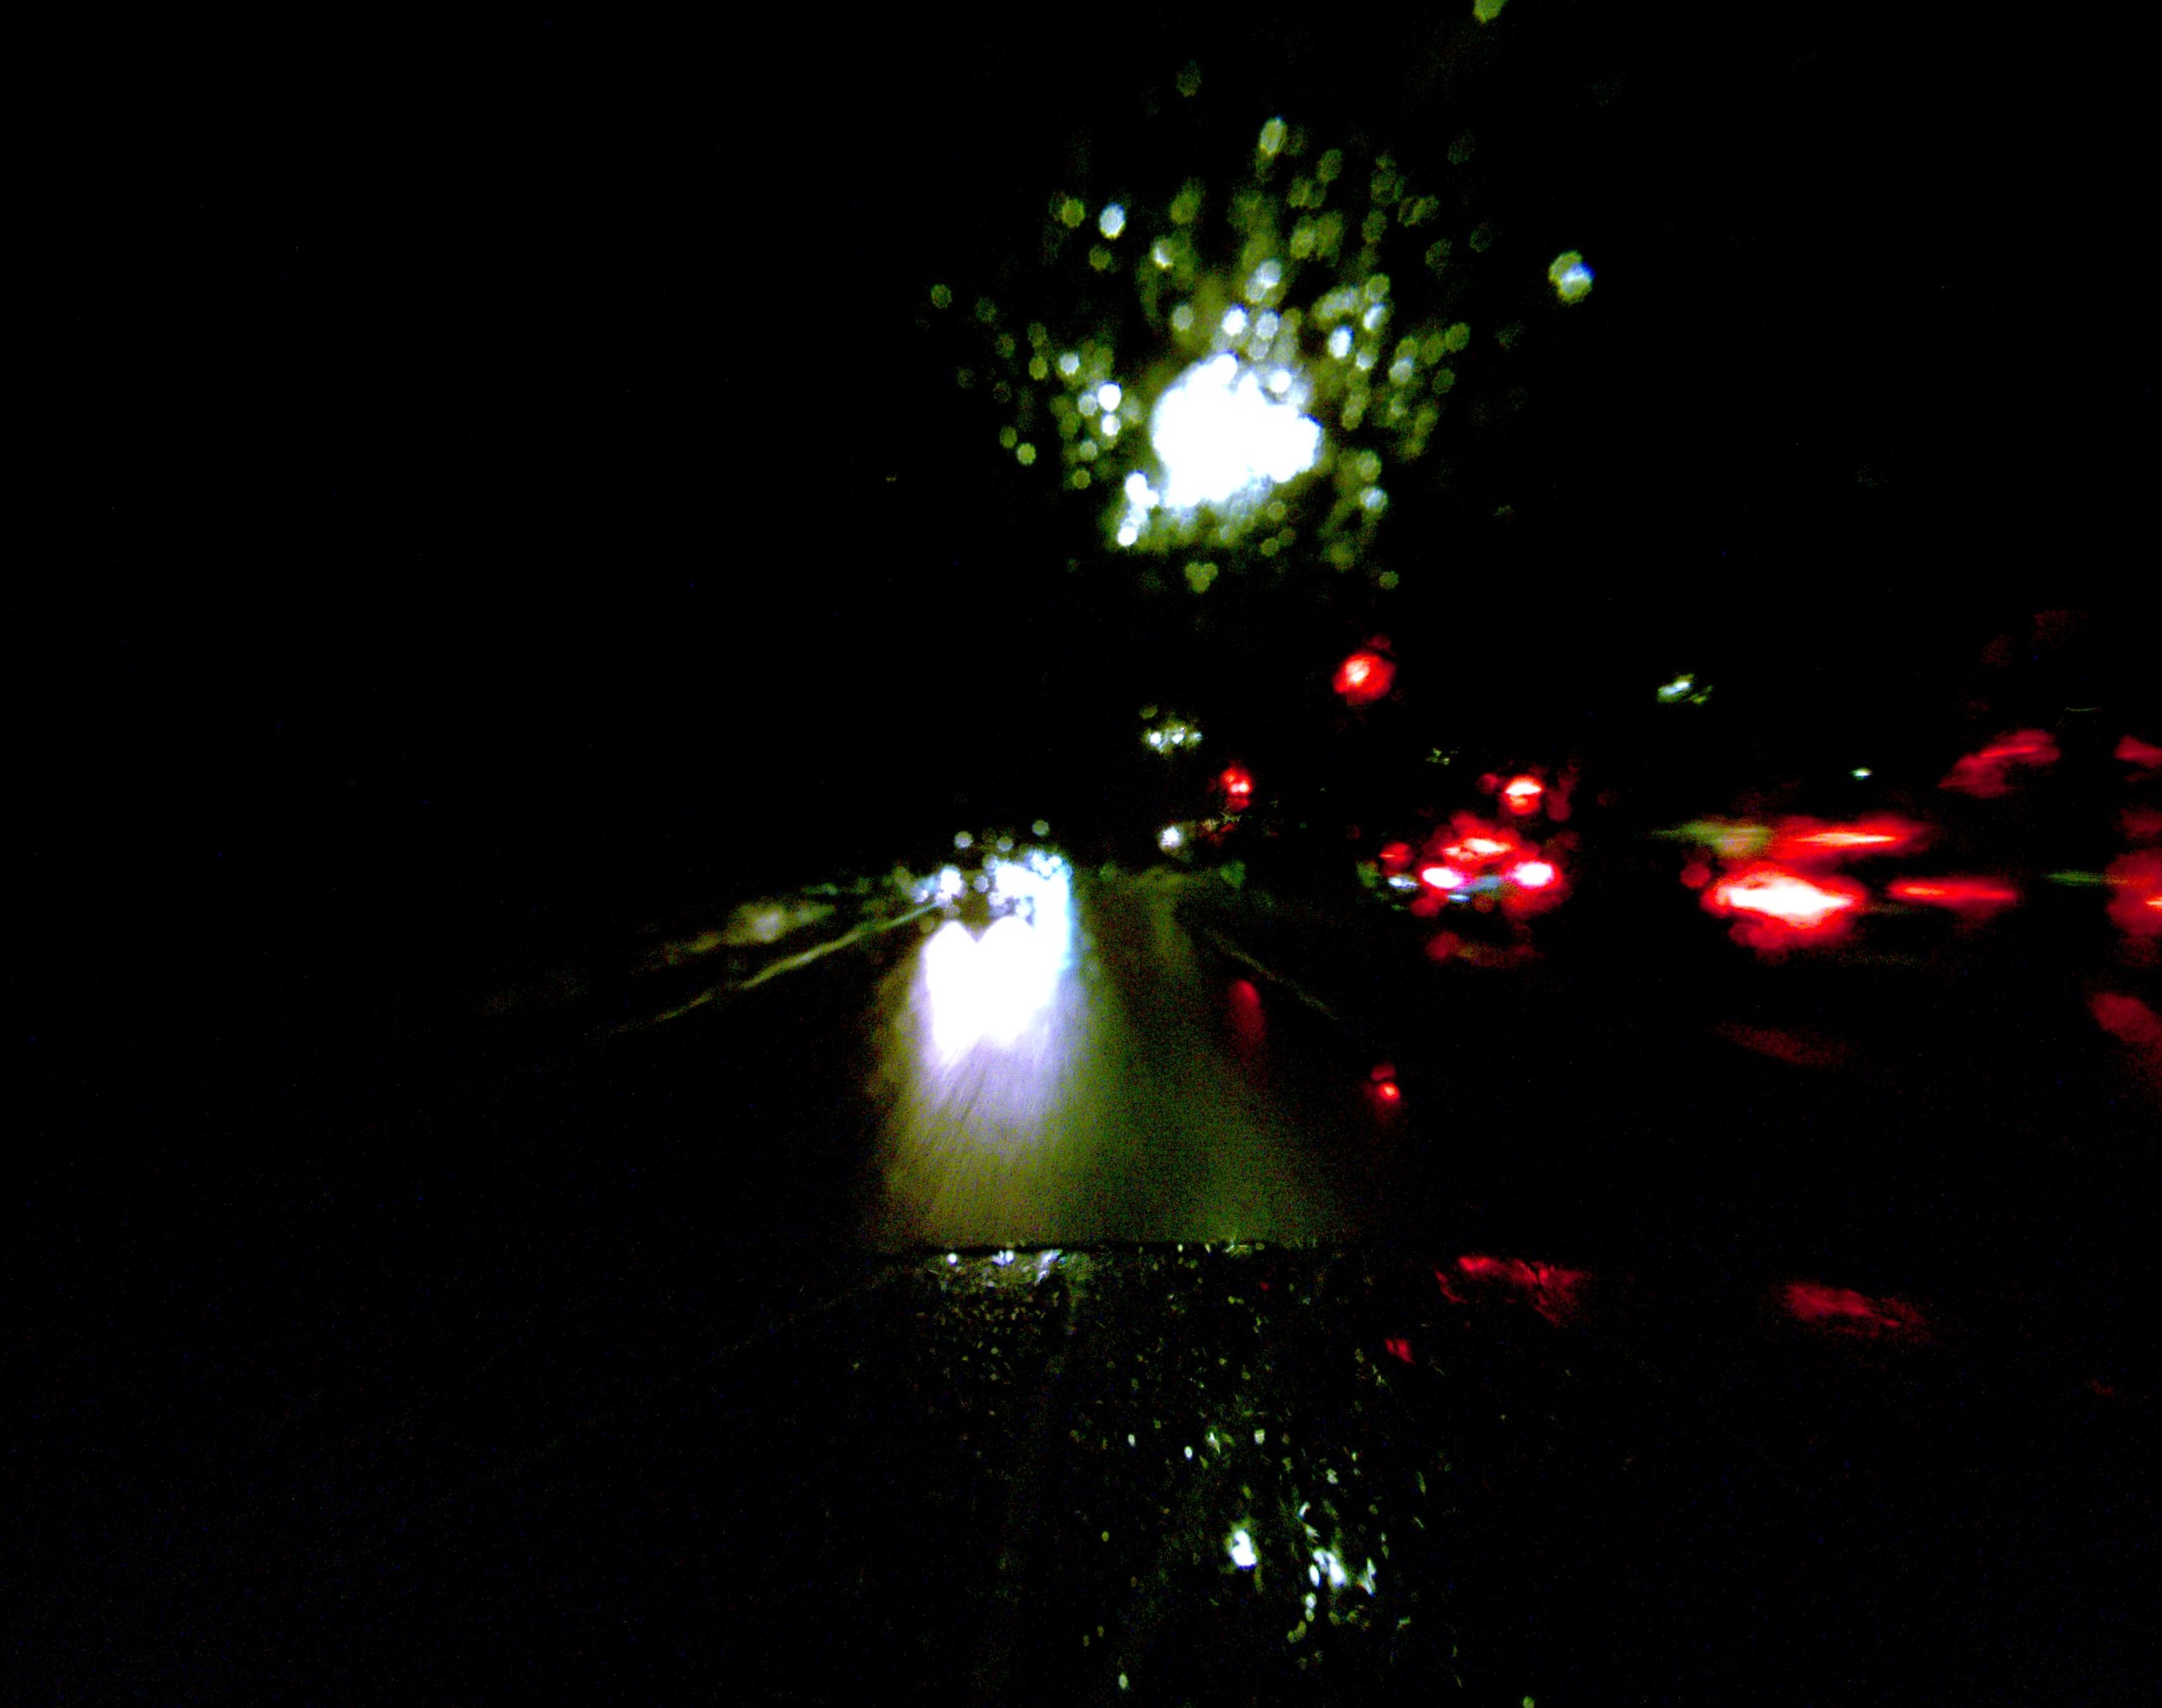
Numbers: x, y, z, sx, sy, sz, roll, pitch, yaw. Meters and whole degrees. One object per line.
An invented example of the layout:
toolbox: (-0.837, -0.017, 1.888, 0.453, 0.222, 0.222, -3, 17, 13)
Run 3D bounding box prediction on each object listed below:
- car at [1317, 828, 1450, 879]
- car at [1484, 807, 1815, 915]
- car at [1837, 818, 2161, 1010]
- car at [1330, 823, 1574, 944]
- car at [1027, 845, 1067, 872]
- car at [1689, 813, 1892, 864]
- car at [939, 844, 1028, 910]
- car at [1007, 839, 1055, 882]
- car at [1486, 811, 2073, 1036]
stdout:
car: (11.873, -0.011, 29.885, 4.512, 1.833, 2.003, -2, 1, 31)
car: (10.082, 0.084, 14.223, 2.364, 1.547, 5.159, -3, 1, 1)
car: (9.464, 0.446, 6.814, 1.827, 1.444, 3.601, -3, 1, 2)
car: (6.343, 0.385, 13.824, 1.998, 1.688, 5.011, -3, 1, 1)
car: (-2.218, 0.249, 50.578, 1.998, 1.544, 4.694, -3, 1, 5)
car: (22.800, -0.481, 24.657, 4.494, 1.357, 1.668, -3, 1, 23)
car: (-2.675, 0.560, 21.969, 1.878, 1.579, 4.887, -3, 1, 0)
car: (-2.344, 0.256, 36.470, 1.794, 1.802, 4.198, -3, 1, 2)
car: (6.349, 0.469, 7.838, 1.961, 1.562, 4.466, -3, 1, 1)
